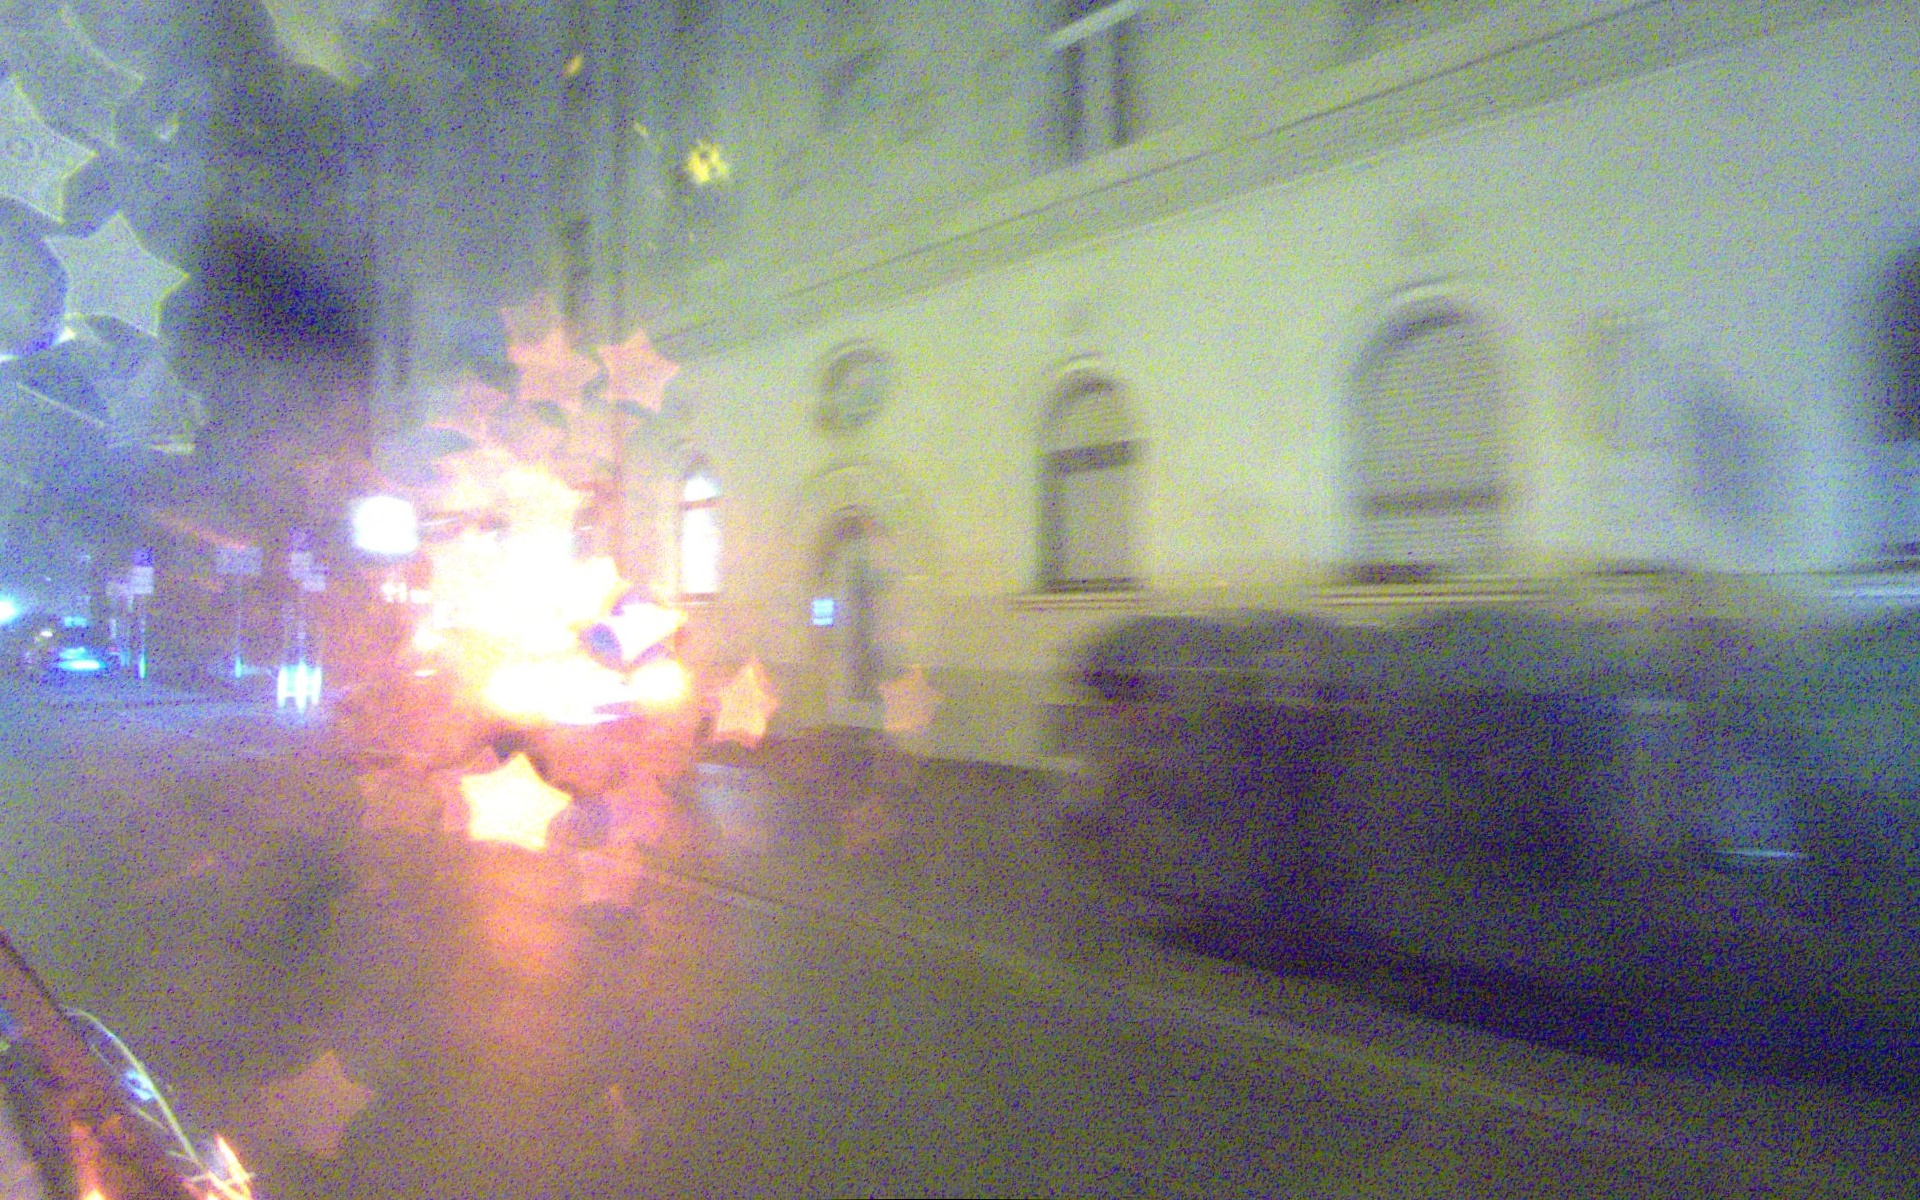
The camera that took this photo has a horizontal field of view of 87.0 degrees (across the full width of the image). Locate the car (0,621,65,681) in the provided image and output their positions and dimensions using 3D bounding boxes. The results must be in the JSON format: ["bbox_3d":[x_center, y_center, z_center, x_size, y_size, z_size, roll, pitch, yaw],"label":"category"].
[{"bbox_3d":[-30.948,1.636,33.137,4.825,1.860,1.847,-2,-3,42],"label":"car"}]

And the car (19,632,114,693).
[{"bbox_3d":[-23.884,1.612,27.005,3.562,1.453,1.530,-2,0,43],"label":"car"}]

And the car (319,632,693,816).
[{"bbox_3d":[-4.467,1.002,9.645,4.219,1.369,1.637,-2,-2,41],"label":"car"}]

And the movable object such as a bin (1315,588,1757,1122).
[{"bbox_3d":[2.058,0.708,3.600,1.107,1.470,1.152,-2,-1,43],"label":"movable object such as a bin"}]

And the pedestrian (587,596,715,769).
[{"bbox_3d":[-3.408,0.873,11.190,0.787,1.796,1.120,-2,-2,41],"label":"pedestrian"}]

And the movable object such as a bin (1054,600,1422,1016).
[{"bbox_3d":[1.226,0.752,4.434,1.107,1.470,1.195,-2,-1,43],"label":"movable object such as a bin"}]

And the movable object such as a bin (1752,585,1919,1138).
[{"bbox_3d":[3.145,0.684,2.986,1.150,1.470,1.248,-2,-1,43],"label":"movable object such as a bin"}]
